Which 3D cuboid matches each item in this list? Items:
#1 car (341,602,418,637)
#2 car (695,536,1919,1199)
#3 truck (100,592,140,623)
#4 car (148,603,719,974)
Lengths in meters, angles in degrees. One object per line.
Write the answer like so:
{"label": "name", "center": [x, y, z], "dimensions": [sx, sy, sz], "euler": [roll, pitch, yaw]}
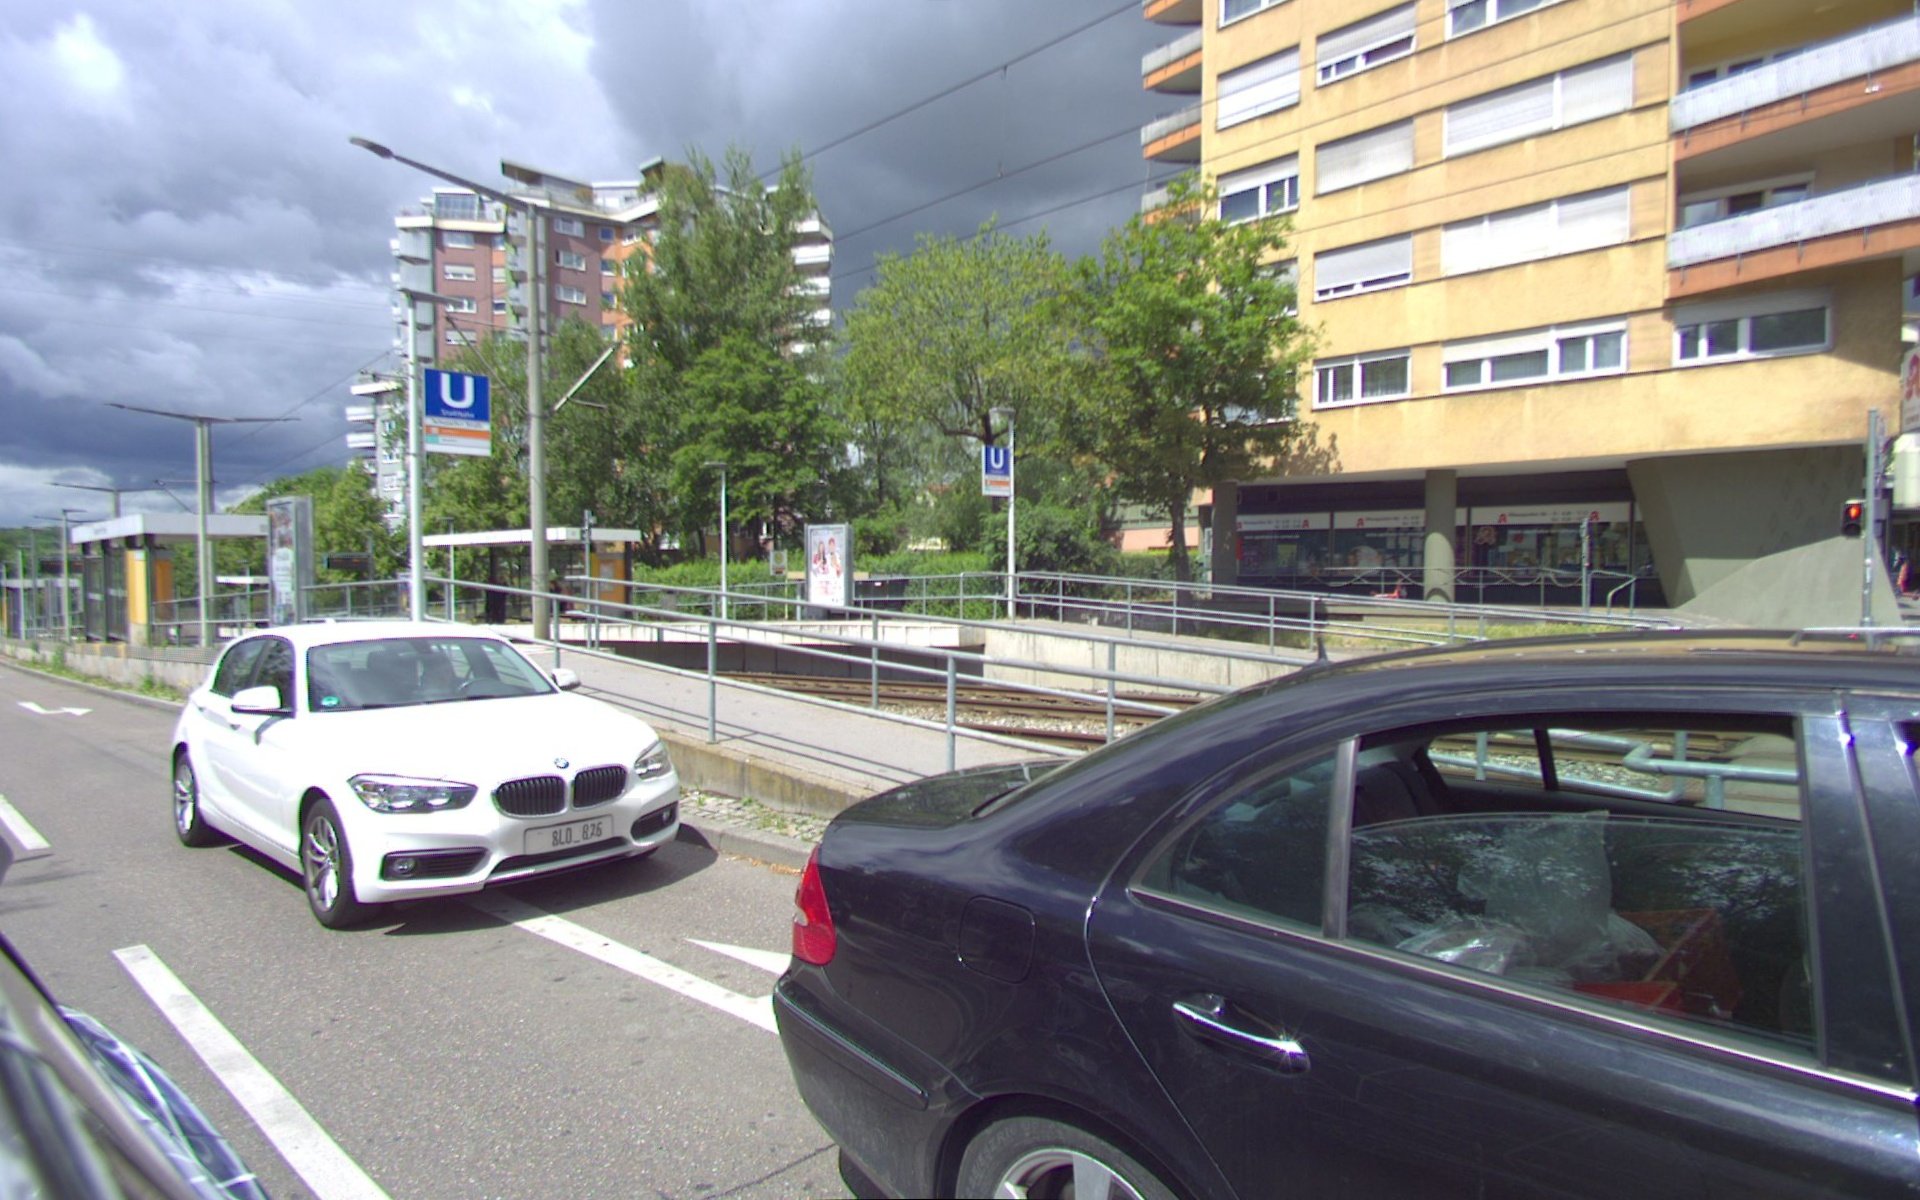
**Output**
{"label": "car", "center": [-28.471, 0.977, 49.587], "dimensions": [4.459, 1.647, 1.972], "euler": [-1, -2, 42]}
{"label": "car", "center": [1.681, 0.663, 1.386], "dimensions": [4.542, 1.472, 1.710], "euler": [-1, 0, 41]}
{"label": "truck", "center": [-95.764, 0.894, 115.334], "dimensions": [7.260, 3.247, 2.389], "euler": [-2, -1, 42]}
{"label": "car", "center": [-3.348, 0.788, 6.067], "dimensions": [3.998, 1.472, 1.710], "euler": [-1, 0, 41]}
